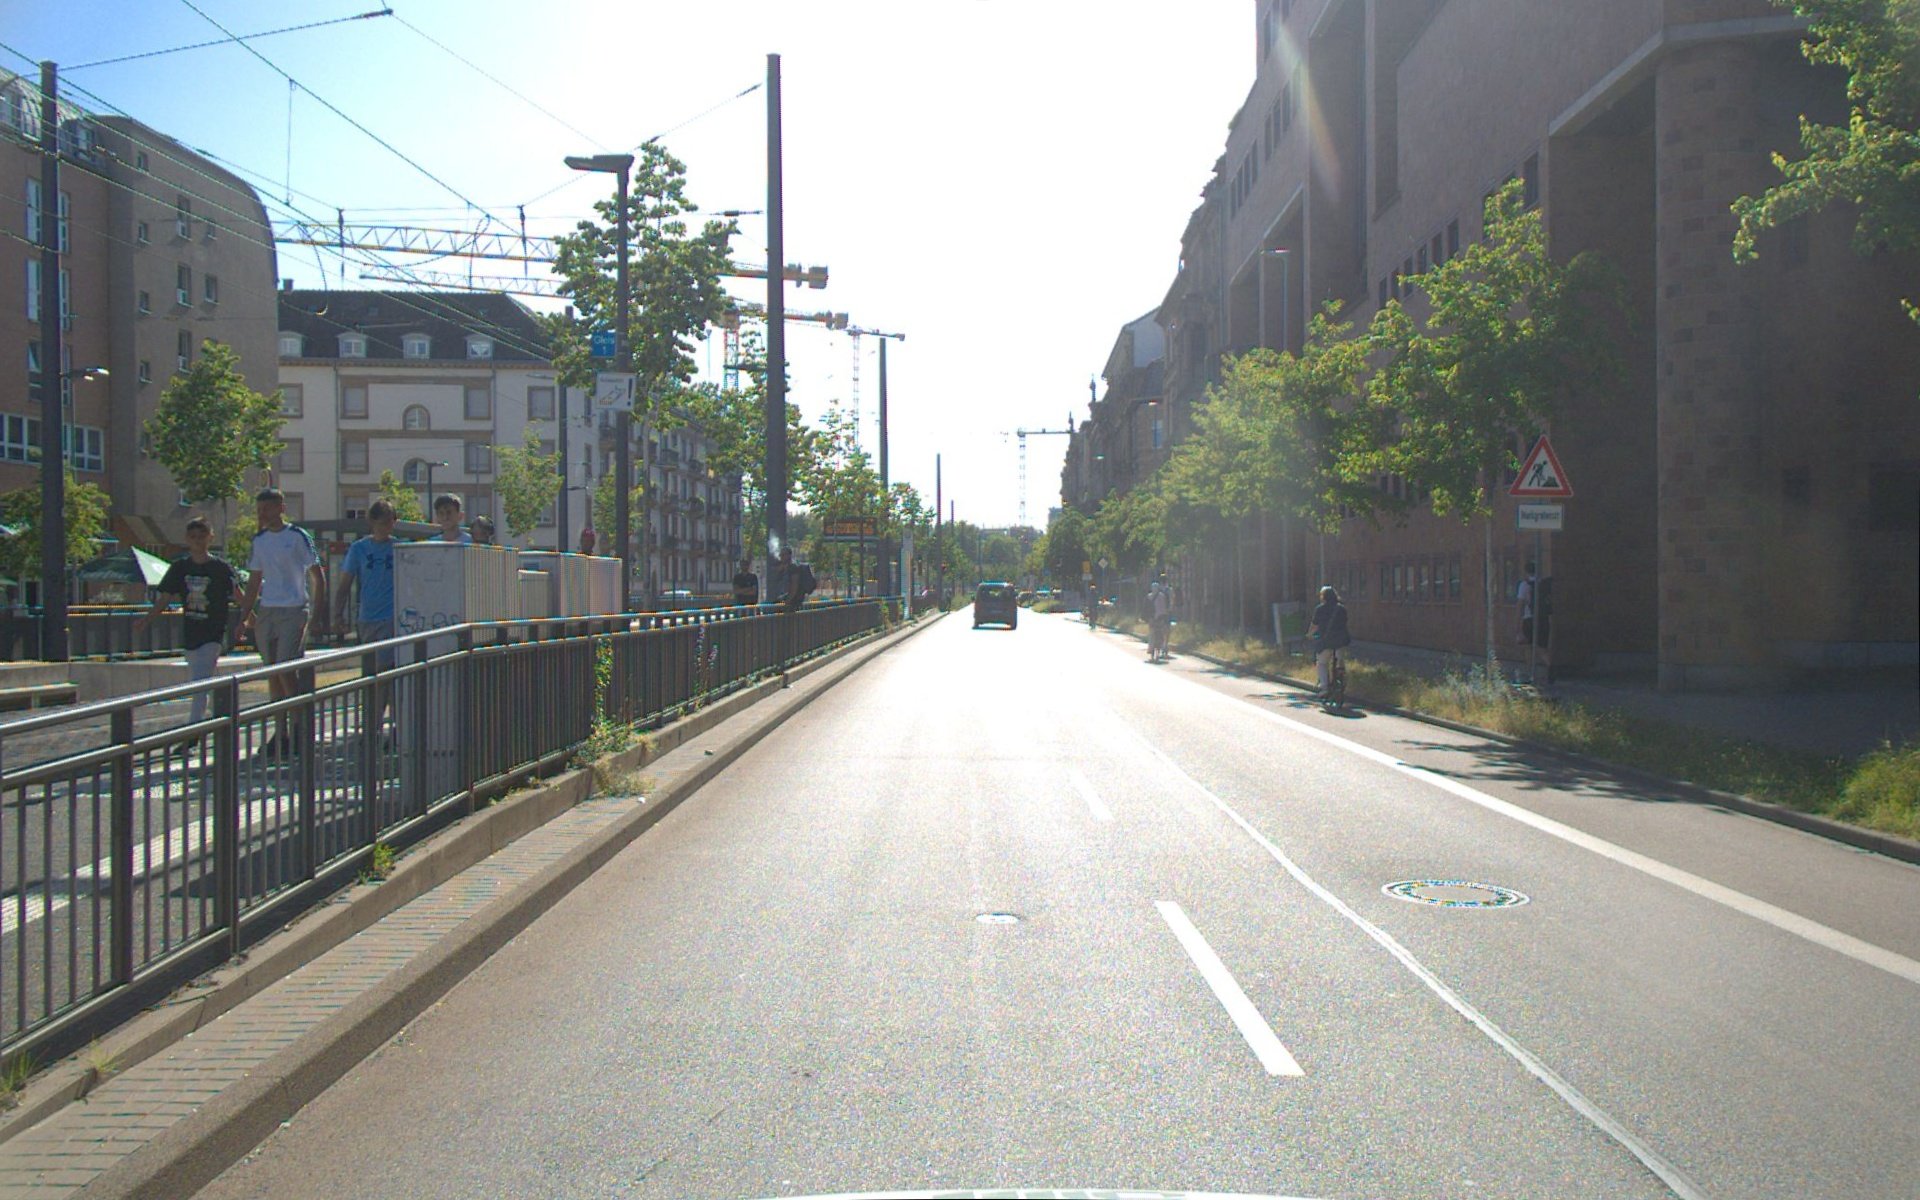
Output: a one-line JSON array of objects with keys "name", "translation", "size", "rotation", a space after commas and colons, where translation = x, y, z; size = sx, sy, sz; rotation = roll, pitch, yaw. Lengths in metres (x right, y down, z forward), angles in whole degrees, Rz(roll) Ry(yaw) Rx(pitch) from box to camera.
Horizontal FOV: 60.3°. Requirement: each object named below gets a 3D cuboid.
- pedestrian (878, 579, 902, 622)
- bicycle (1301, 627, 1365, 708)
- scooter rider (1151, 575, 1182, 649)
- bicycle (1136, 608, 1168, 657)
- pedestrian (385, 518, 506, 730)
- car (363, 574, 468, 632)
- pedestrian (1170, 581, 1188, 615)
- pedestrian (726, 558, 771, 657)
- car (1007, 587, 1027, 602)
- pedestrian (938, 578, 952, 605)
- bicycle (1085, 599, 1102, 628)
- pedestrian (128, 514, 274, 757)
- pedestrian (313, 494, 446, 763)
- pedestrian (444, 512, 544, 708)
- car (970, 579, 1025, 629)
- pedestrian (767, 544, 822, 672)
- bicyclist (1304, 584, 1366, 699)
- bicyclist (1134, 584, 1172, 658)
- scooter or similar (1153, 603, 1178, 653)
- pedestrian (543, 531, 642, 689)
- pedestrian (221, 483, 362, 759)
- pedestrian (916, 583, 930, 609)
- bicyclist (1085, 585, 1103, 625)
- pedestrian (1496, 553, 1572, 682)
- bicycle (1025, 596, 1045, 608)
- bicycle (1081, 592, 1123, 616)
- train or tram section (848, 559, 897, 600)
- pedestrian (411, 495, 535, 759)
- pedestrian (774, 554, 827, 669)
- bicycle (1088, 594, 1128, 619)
[{"name": "pedestrian", "translation": [-2.606, 0.013, 61.533], "size": [0.796, 1.563, 0.798], "rotation": [0, 0, 3]}, {"name": "bicycle", "translation": [5.250, 0.936, 23.335], "size": [0.546, 1.045, 1.507], "rotation": [1, 0, 0]}, {"name": "scooter rider", "translation": [5.320, 0.301, 42.639], "size": [0.652, 1.893, 0.901], "rotation": [1, 0, 0]}, {"name": "bicycle", "translation": [4.603, 0.778, 39.714], "size": [0.546, 1.111, 1.792], "rotation": [1, 0, 0]}, {"name": "pedestrian", "translation": [-4.140, 0.186, 13.364], "size": [0.738, 1.647, 0.775], "rotation": [-1, 0, -3]}, {"name": "car", "translation": [-23.512, 0.078, 71.646], "size": [1.951, 2.411, 5.650], "rotation": [0, 1, 9]}, {"name": "pedestrian", "translation": [10.209, -0.089, 77.116], "size": [0.694, 1.569, 0.927], "rotation": [-1, 0, 1]}, {"name": "pedestrian", "translation": [-3.825, 0.131, 29.953], "size": [0.694, 1.753, 0.752], "rotation": [-1, 0, -1]}, {"name": "car", "translation": [5.957, -0.610, 172.511], "size": [1.986, 1.525, 4.654], "rotation": [-1, 0, 1]}, {"name": "pedestrian", "translation": [-0.998, -0.554, 109.640], "size": [0.848, 1.819, 0.970], "rotation": [0, 0, -5]}, {"name": "bicycle", "translation": [5.747, 0.553, 71.171], "size": [0.589, 1.201, 1.869], "rotation": [1, 0, 0]}, {"name": "pedestrian", "translation": [-5.199, 0.230, 11.371], "size": [0.596, 1.596, 0.908], "rotation": [-1, 0, -3]}, {"name": "pedestrian", "translation": [-3.973, 0.185, 11.372], "size": [0.634, 1.774, 0.820], "rotation": [-1, 0, -3]}, {"name": "pedestrian", "translation": [-4.504, 0.093, 16.049], "size": [0.738, 1.842, 0.839], "rotation": [-1, 0, -3]}, {"name": "car", "translation": [1.510, 0.131, 67.993], "size": [2.155, 1.960, 4.654], "rotation": [-1, 0, 1]}, {"name": "pedestrian", "translation": [-2.527, 0.114, 25.290], "size": [0.730, 1.917, 0.715], "rotation": [-1, 0, 0]}, {"name": "bicyclist", "translation": [5.288, 0.571, 23.357], "size": [0.644, 1.564, 0.909], "rotation": [1, 0, 0]}, {"name": "bicyclist", "translation": [4.626, 0.488, 39.649], "size": [0.763, 1.741, 0.868], "rotation": [1, 0, 0]}, {"name": "scooter or similar", "translation": [5.290, 0.709, 42.553], "size": [0.480, 1.248, 1.170], "rotation": [1, 0, 0]}, {"name": "pedestrian", "translation": [-4.412, 0.111, 19.929], "size": [0.971, 1.842, 1.022], "rotation": [-1, 0, -3]}, {"name": "pedestrian", "translation": [-4.540, 0.137, 11.276], "size": [0.634, 1.805, 0.820], "rotation": [-1, 0, -3]}, {"name": "pedestrian", "translation": [-2.277, -0.257, 103.011], "size": [0.796, 1.563, 0.798], "rotation": [0, 0, 3]}, {"name": "bicyclist", "translation": [5.759, 0.219, 71.247], "size": [0.670, 1.702, 0.922], "rotation": [1, 0, 0]}, {"name": "pedestrian", "translation": [8.760, 0.255, 25.283], "size": [0.771, 1.916, 1.106], "rotation": [-1, 0, 1]}, {"name": "bicycle", "translation": [6.766, 0.186, 148.893], "size": [1.755, 1.048, 0.527], "rotation": [-1, 0, 1]}, {"name": "bicycle", "translation": [7.217, 0.216, 84.169], "size": [1.958, 1.111, 0.845], "rotation": [-3, 0, -9]}, {"name": "train or tram section", "translation": [-6.290, -1.454, 120.670], "size": [2.699, 2.791, 9.866], "rotation": [1, 0, 2]}, {"name": "pedestrian", "translation": [-3.391, 0.182, 11.572], "size": [0.634, 1.774, 0.820], "rotation": [-1, 0, -3]}, {"name": "pedestrian", "translation": [-2.503, 0.174, 25.990], "size": [0.730, 1.779, 0.715], "rotation": [-1, 0, 0]}, {"name": "bicycle", "translation": [7.638, 0.343, 85.536], "size": [1.953, 1.148, 0.710], "rotation": [-3, 0, 2]}]
